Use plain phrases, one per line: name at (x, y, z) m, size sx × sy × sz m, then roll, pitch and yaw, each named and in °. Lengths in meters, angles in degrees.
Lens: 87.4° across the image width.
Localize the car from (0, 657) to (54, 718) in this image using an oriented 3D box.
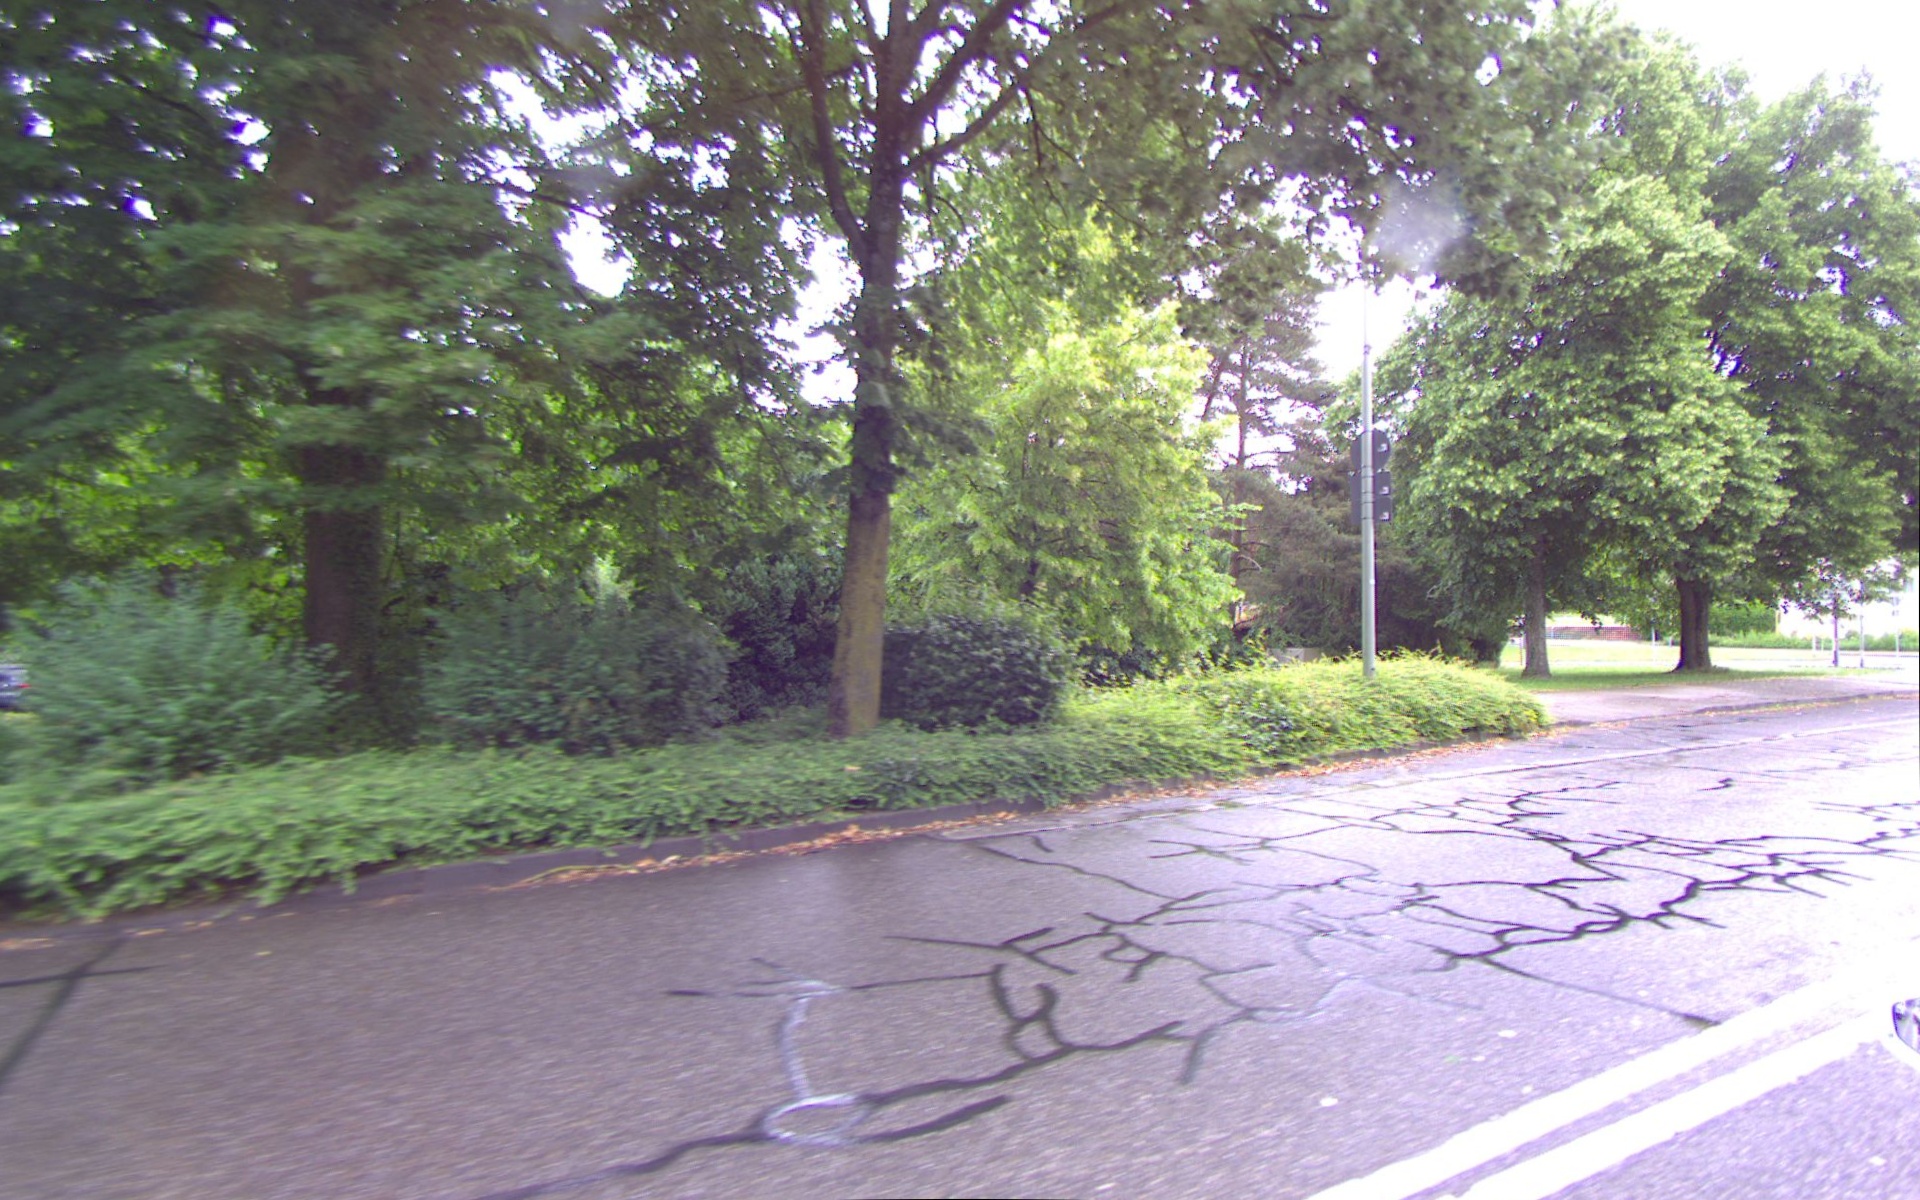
car at (-32.521, 2.962, 34.539) m, size 1.810 × 1.740 × 3.953 m, roll 2°, pitch 0°, yaw -40°
